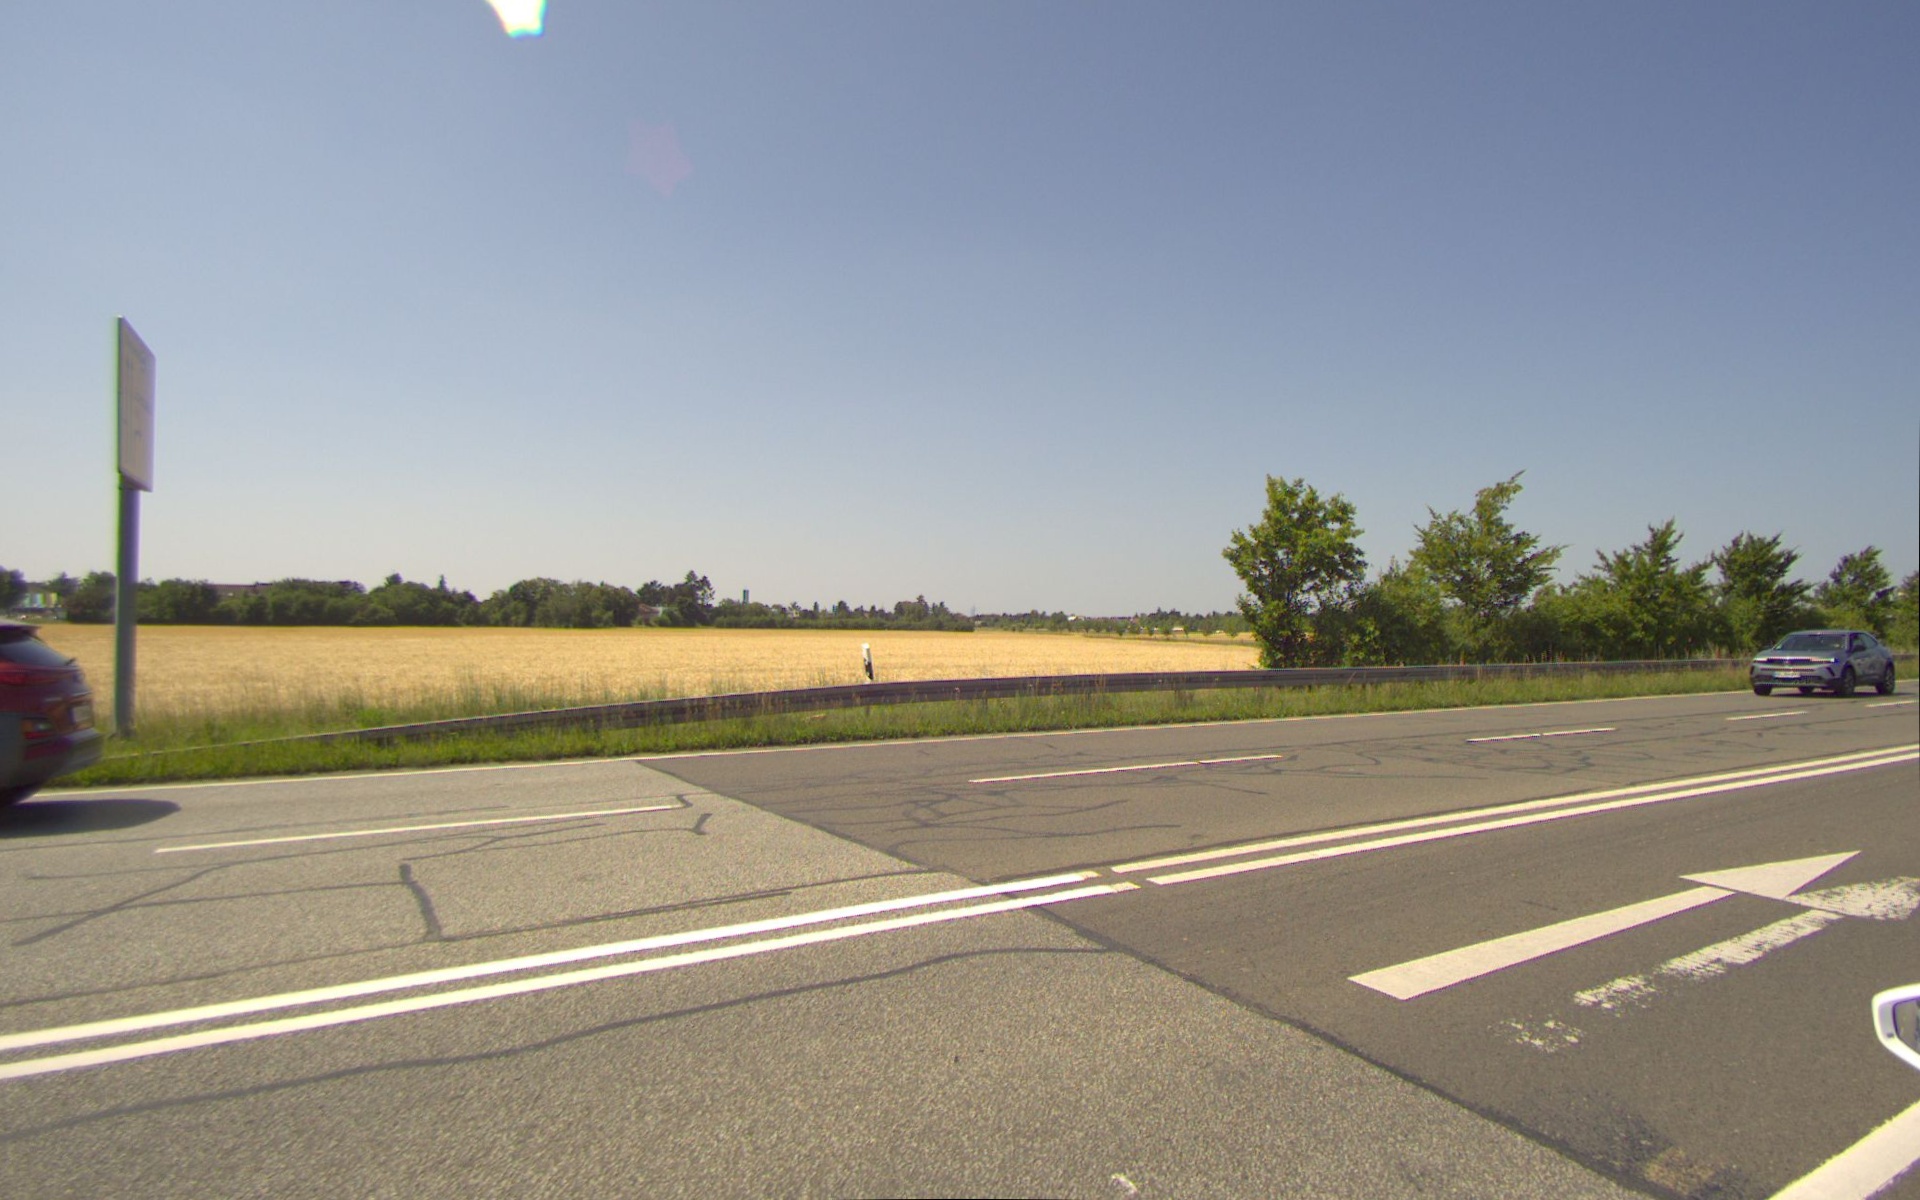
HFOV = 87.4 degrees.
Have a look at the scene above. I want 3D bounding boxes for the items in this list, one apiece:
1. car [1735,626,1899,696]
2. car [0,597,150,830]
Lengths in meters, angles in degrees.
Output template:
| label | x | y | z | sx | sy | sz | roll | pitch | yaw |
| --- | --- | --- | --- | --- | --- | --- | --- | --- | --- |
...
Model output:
| label | x | y | z | sx | sy | sz | roll | pitch | yaw |
| --- | --- | --- | --- | --- | --- | --- | --- | --- | --- |
| car | 20.463 | 1.416 | 23.958 | 4.081 | 1.527 | 1.810 | 1 | -3 | -32 |
| car | -8.443 | 0.766 | 6.822 | 4.260 | 1.582 | 1.984 | 1 | -3 | -30 |
